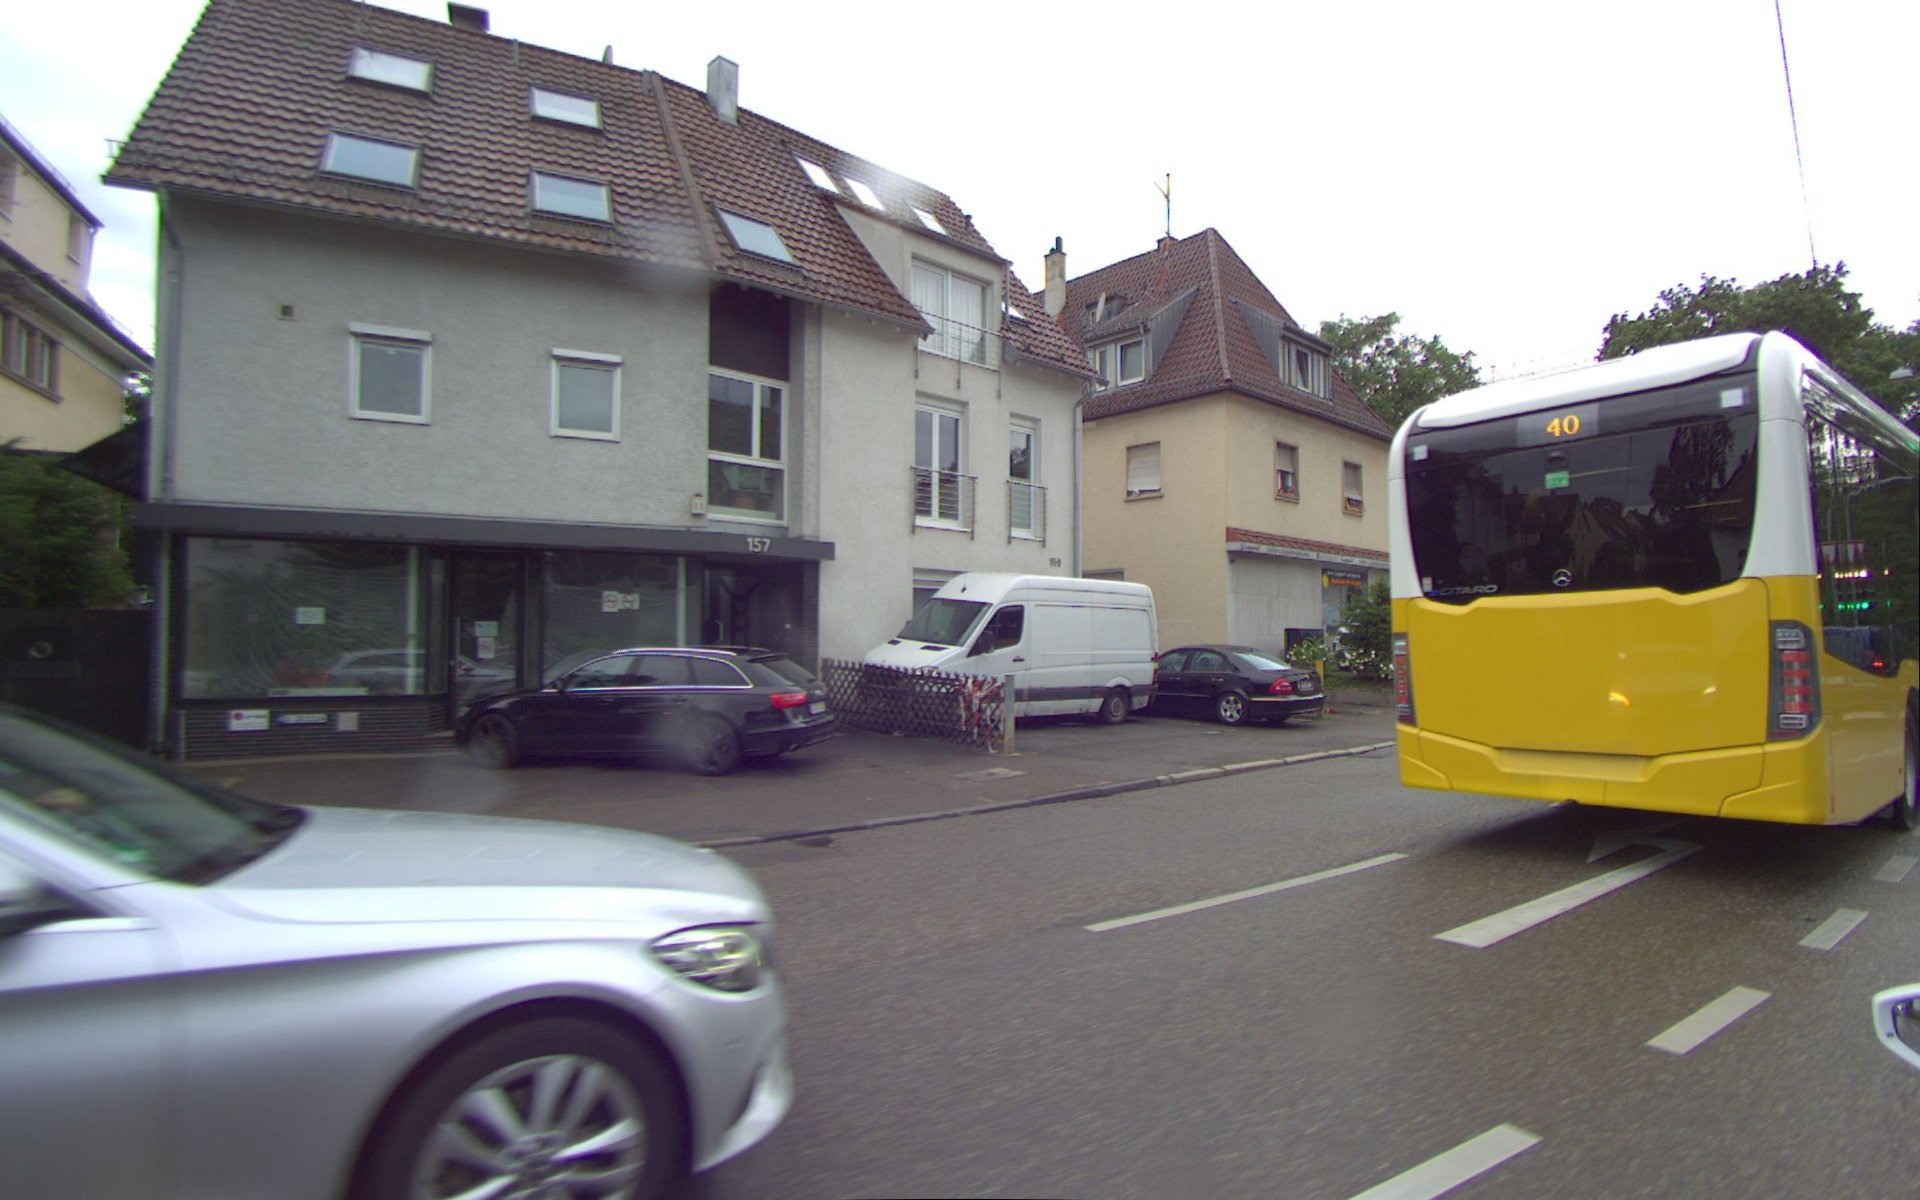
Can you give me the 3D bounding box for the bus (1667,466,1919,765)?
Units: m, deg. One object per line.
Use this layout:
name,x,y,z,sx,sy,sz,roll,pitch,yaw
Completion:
bus,13.724,0.306,15.318,8.973,3.443,2.874,2,-3,-42

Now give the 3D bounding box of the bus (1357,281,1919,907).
bus,7.126,0.090,9.345,8.610,3.443,2.654,2,-3,-40

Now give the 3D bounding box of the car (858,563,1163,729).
car,1.032,0.758,17.548,5.450,2.480,1.977,2,-1,-40

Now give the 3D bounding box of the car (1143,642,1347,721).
car,6.002,1.645,21.315,3.771,1.362,1.796,1,0,39

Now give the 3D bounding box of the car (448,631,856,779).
car,-3.787,1.213,12.586,4.588,1.515,1.805,1,0,13

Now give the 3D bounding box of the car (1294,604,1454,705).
car,11.318,1.405,27.221,5.456,2.480,1.974,2,-1,-44

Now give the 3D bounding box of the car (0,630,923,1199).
car,-2.502,0.847,2.375,4.429,1.499,1.986,0,-2,-28
